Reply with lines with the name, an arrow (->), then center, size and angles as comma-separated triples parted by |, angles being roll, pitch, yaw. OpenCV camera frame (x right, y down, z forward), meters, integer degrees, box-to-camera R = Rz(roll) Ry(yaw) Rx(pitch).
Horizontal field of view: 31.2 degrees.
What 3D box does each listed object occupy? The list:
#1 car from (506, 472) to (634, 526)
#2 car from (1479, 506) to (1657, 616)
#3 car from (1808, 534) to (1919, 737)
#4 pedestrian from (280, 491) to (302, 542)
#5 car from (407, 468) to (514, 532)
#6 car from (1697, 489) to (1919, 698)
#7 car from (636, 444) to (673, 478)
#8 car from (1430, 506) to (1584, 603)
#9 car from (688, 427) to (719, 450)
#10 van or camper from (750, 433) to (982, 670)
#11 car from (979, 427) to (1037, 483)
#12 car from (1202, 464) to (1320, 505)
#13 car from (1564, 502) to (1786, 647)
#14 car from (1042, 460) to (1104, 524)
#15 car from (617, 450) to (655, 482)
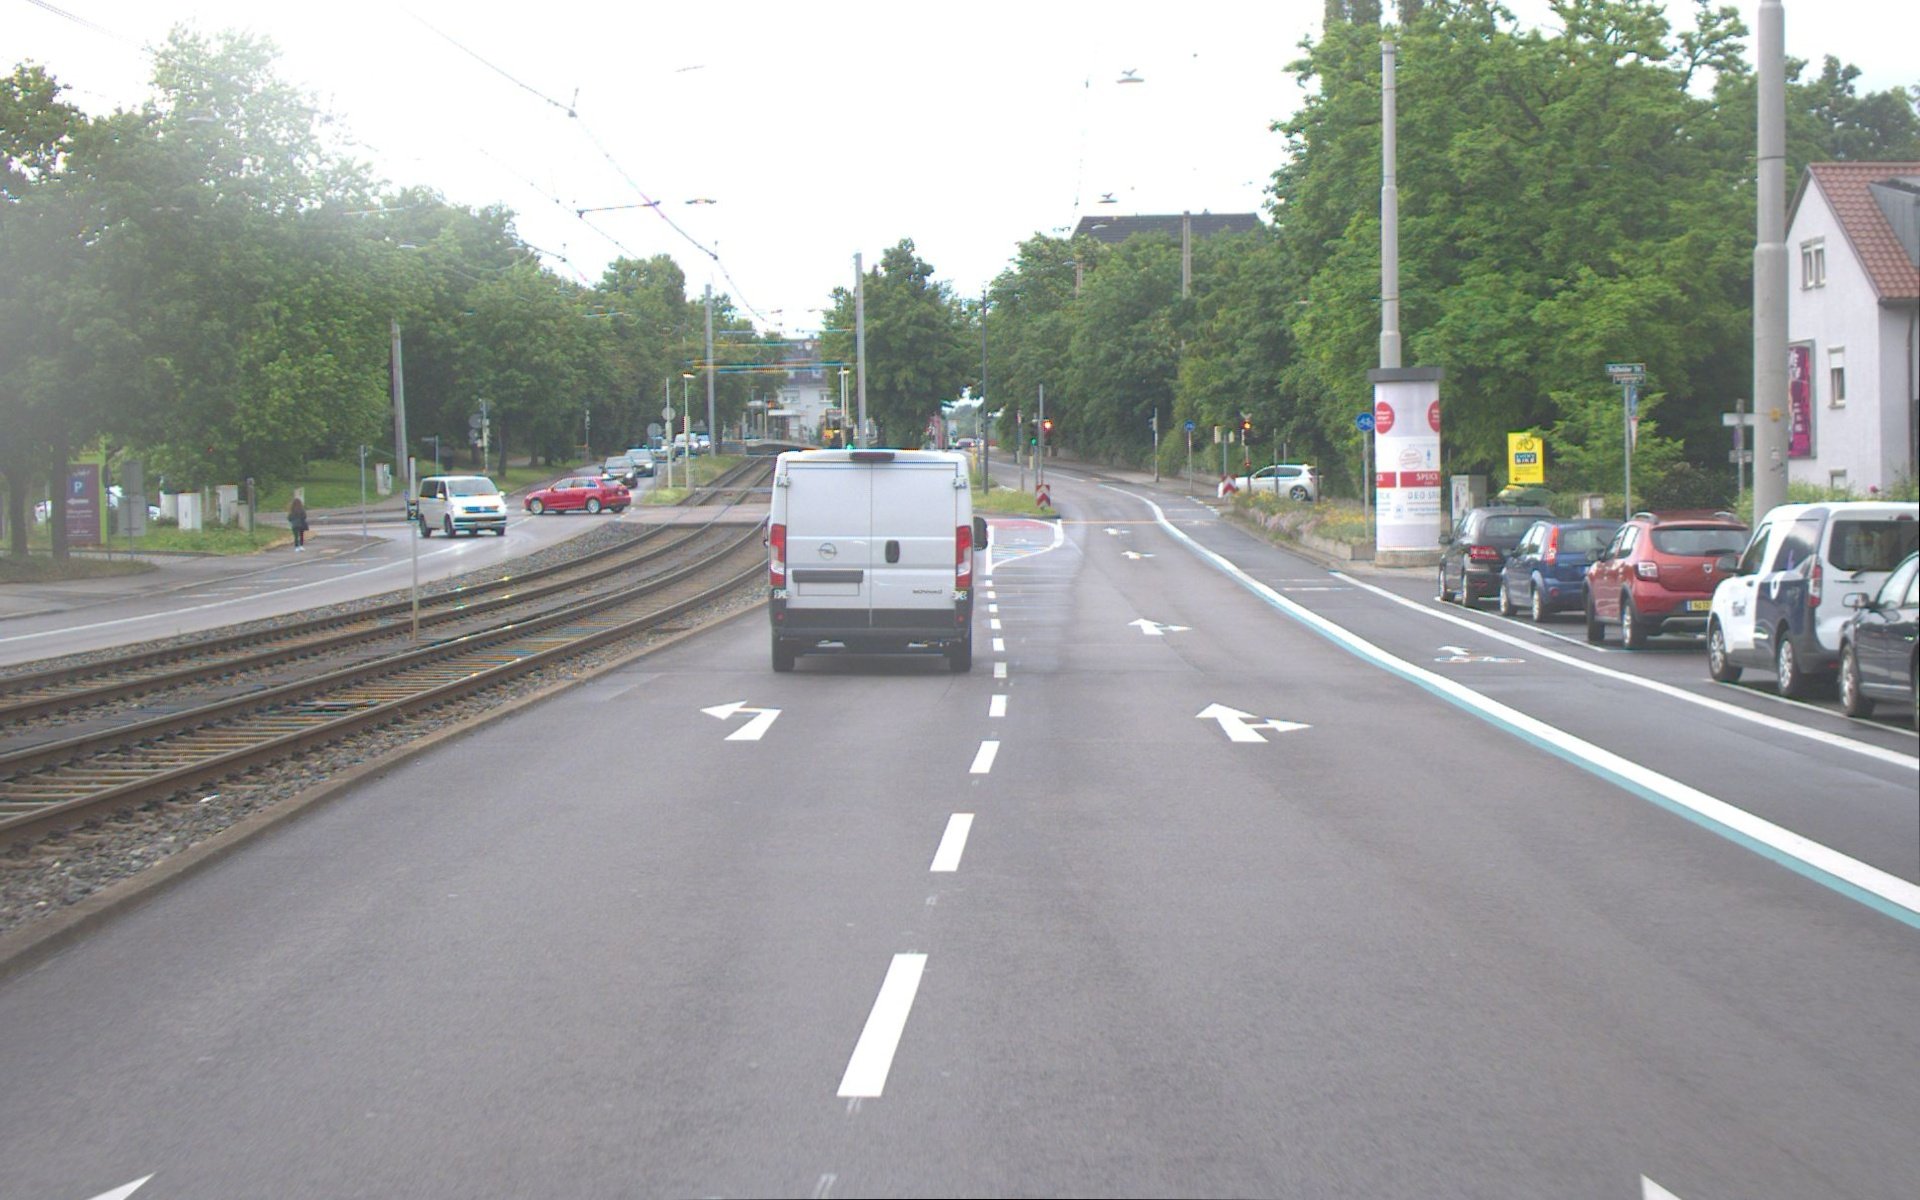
car -> -14.924, -3.861, 131.613 | 4.520, 2.007, 1.997 | 1, 1, 28
car -> 8.679, -0.567, 49.381 | 1.847, 1.494, 3.954 | 1, 1, 0
car -> 7.828, 0.241, 26.506 | 1.646, 1.441, 3.954 | 1, 2, 1
pedestrian -> -19.504, -2.422, 100.248 | 0.612, 1.470, 0.643 | -1, 1, -12
car -> -16.445, -3.259, 113.003 | 1.993, 2.007, 4.528 | 1, 1, -29
car -> 8.138, -0.119, 31.883 | 1.747, 1.801, 3.955 | 1, 2, 0
car -> -19.756, -8.982, 222.520 | 1.993, 2.007, 4.000 | 1, 1, 0
car -> 8.753, -0.738, 55.278 | 1.847, 1.494, 3.954 | 1, 1, 0
car -> -19.239, -12.126, 258.049 | 1.993, 1.645, 4.000 | -1, 1, 1
van or camper -> -0.985, -0.498, 35.519 | 2.199, 2.245, 4.684 | 1, 1, -2
car -> 1.840, -5.557, 132.509 | 1.993, 2.007, 4.000 | 1, 1, -2
car -> 11.585, -4.448, 132.288 | 4.176, 1.471, 1.664 | 0, 1, 25
car -> 8.601, -0.349, 41.673 | 1.847, 1.640, 3.955 | 1, 2, 0
car -> 3.745, -3.577, 114.504 | 1.993, 2.007, 4.000 | 1, 1, 1
car -> -17.307, -7.130, 183.642 | 1.690, 1.569, 3.777 | 1, 1, 0
